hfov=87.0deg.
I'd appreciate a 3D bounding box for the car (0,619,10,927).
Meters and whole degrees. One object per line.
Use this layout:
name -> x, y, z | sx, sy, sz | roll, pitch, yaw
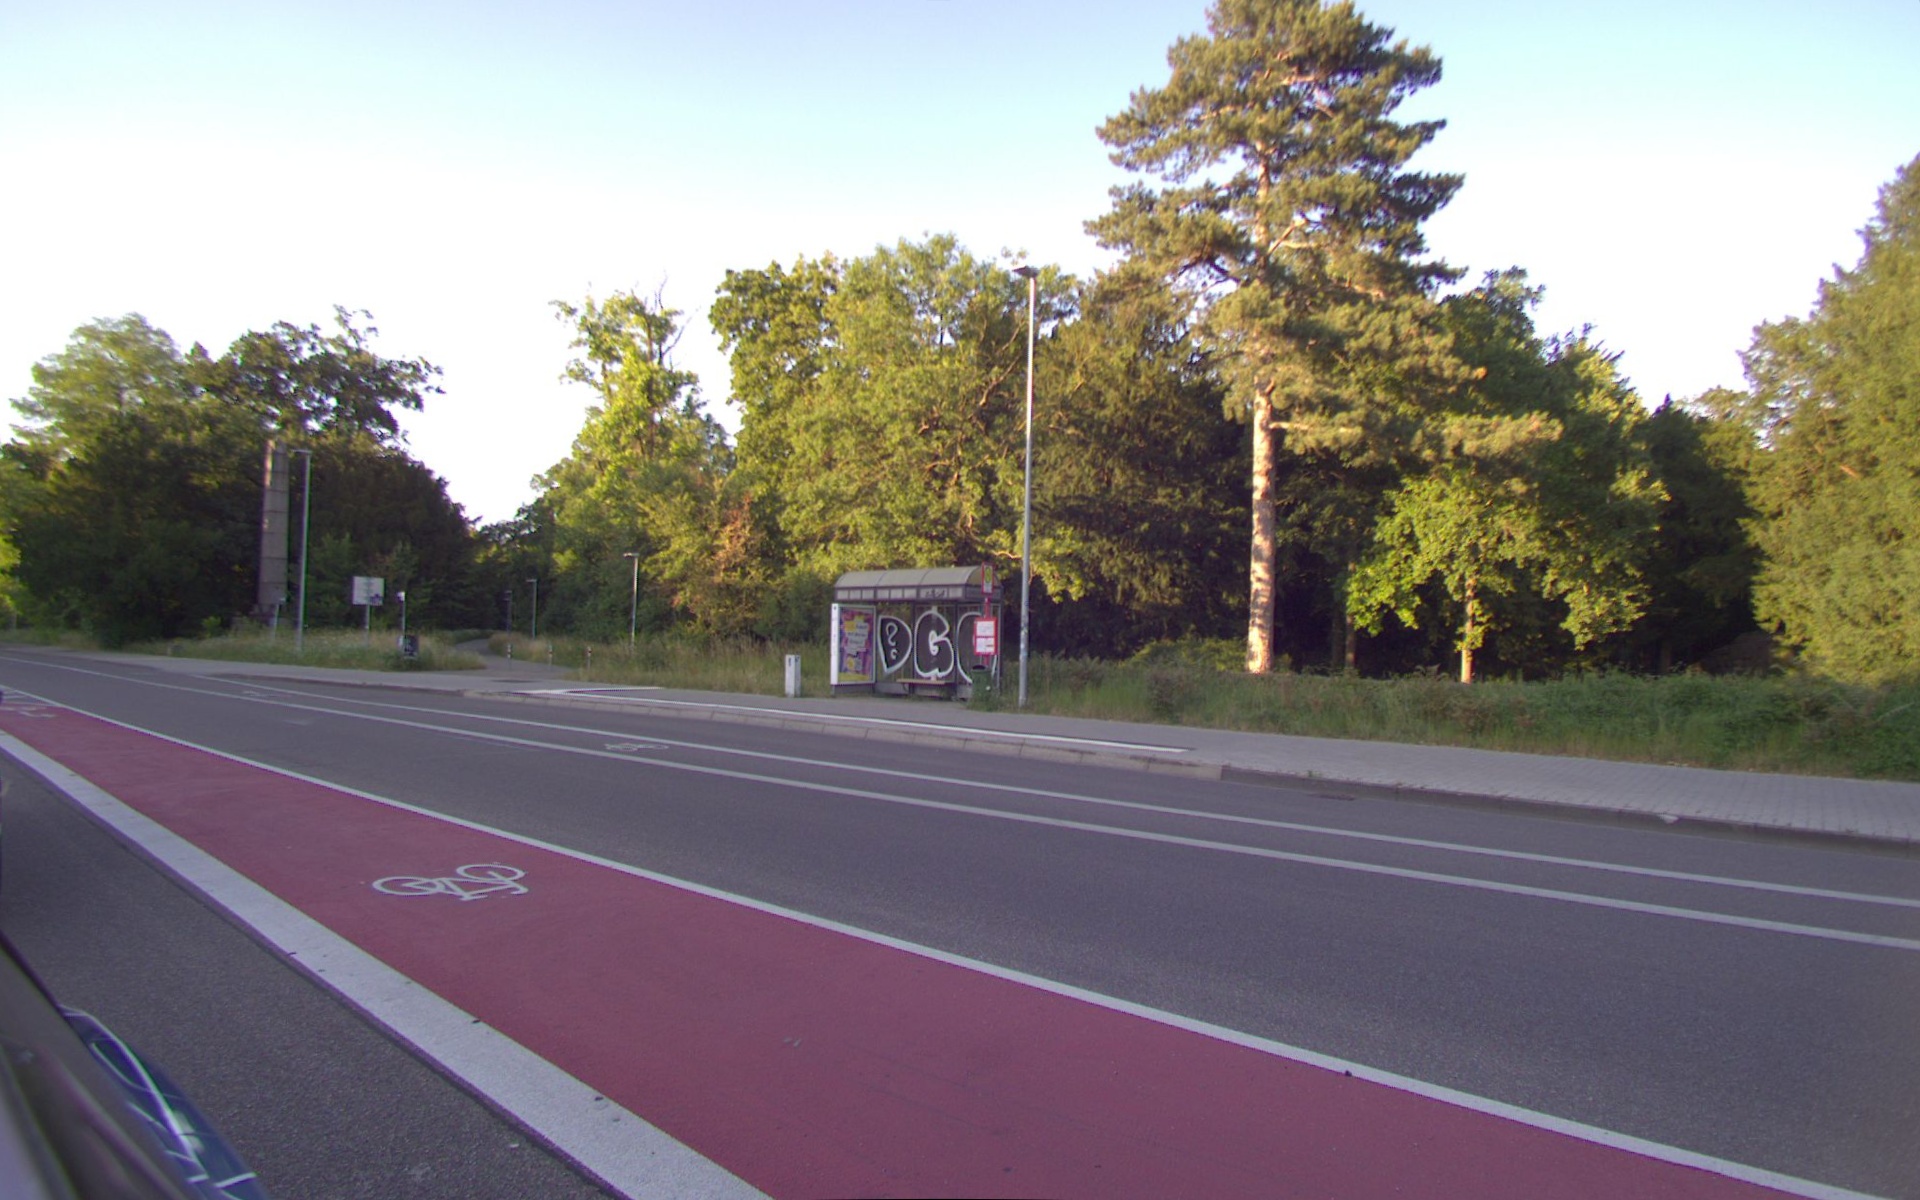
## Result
car -> -6.953, 0.840, 5.588 | 5.207, 1.410, 1.795 | -1, 0, 39
